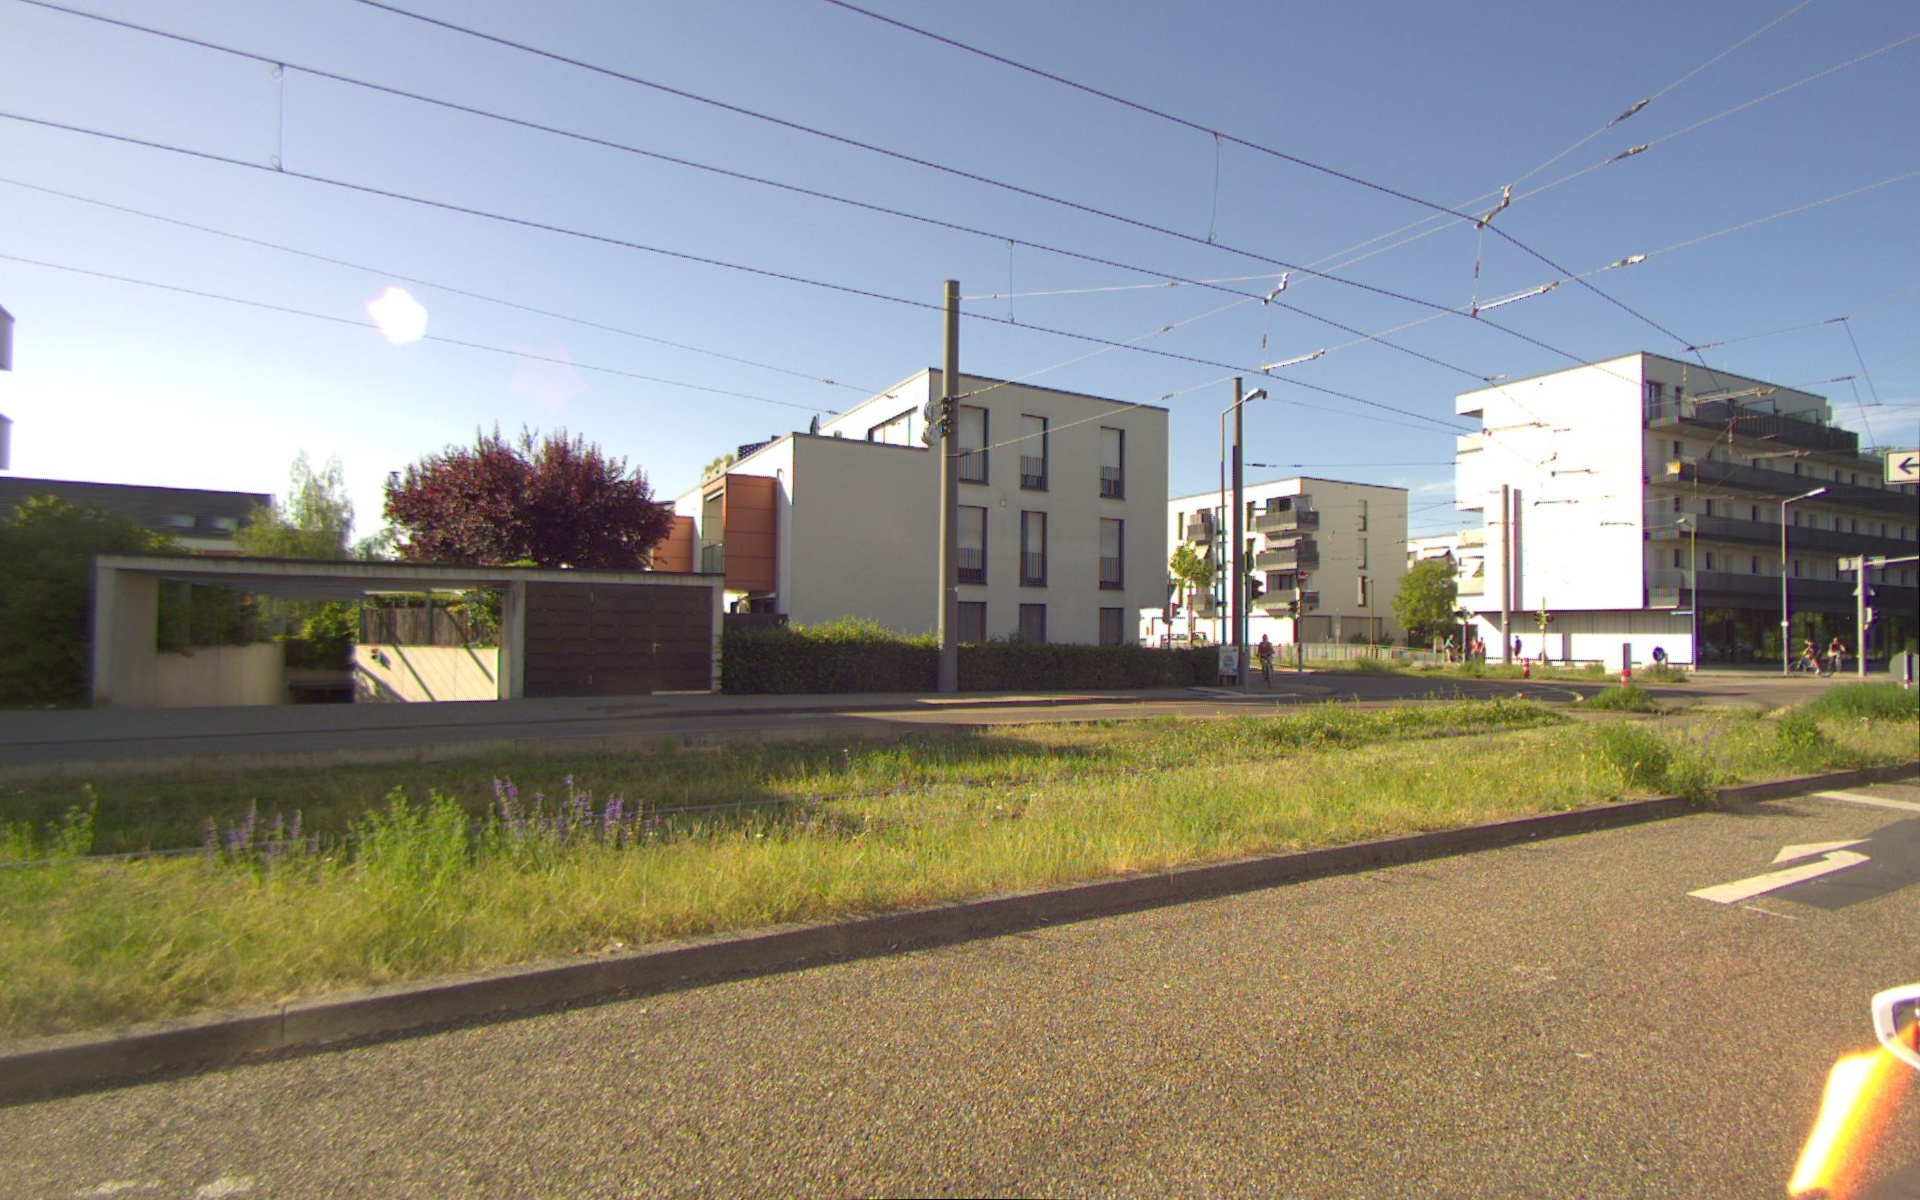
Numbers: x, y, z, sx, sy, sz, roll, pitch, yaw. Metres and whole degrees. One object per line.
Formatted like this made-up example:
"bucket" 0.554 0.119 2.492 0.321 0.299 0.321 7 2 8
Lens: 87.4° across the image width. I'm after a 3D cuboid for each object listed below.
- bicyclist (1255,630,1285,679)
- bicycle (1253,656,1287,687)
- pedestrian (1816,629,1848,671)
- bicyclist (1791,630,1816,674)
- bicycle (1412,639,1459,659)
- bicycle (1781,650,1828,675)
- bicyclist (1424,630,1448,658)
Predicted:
"bicyclist" 9.784 1.706 31.680 0.874 1.510 0.746 0 -2 21
"bicycle" 9.810 2.240 31.726 0.885 0.904 2.484 0 -2 21
"pedestrian" 43.030 2.473 49.565 0.752 2.040 0.972 1 -2 -32
"bicyclist" 39.692 2.439 47.281 0.782 2.040 0.809 -1 -2 36
"bicycle" 28.305 2.919 59.771 2.783 1.214 0.899 1 -2 -21
"bicycle" 39.727 2.921 47.248 1.616 1.159 0.742 -1 -2 36
"bicyclist" 28.344 2.626 59.787 0.900 1.613 0.891 1 -2 -21
